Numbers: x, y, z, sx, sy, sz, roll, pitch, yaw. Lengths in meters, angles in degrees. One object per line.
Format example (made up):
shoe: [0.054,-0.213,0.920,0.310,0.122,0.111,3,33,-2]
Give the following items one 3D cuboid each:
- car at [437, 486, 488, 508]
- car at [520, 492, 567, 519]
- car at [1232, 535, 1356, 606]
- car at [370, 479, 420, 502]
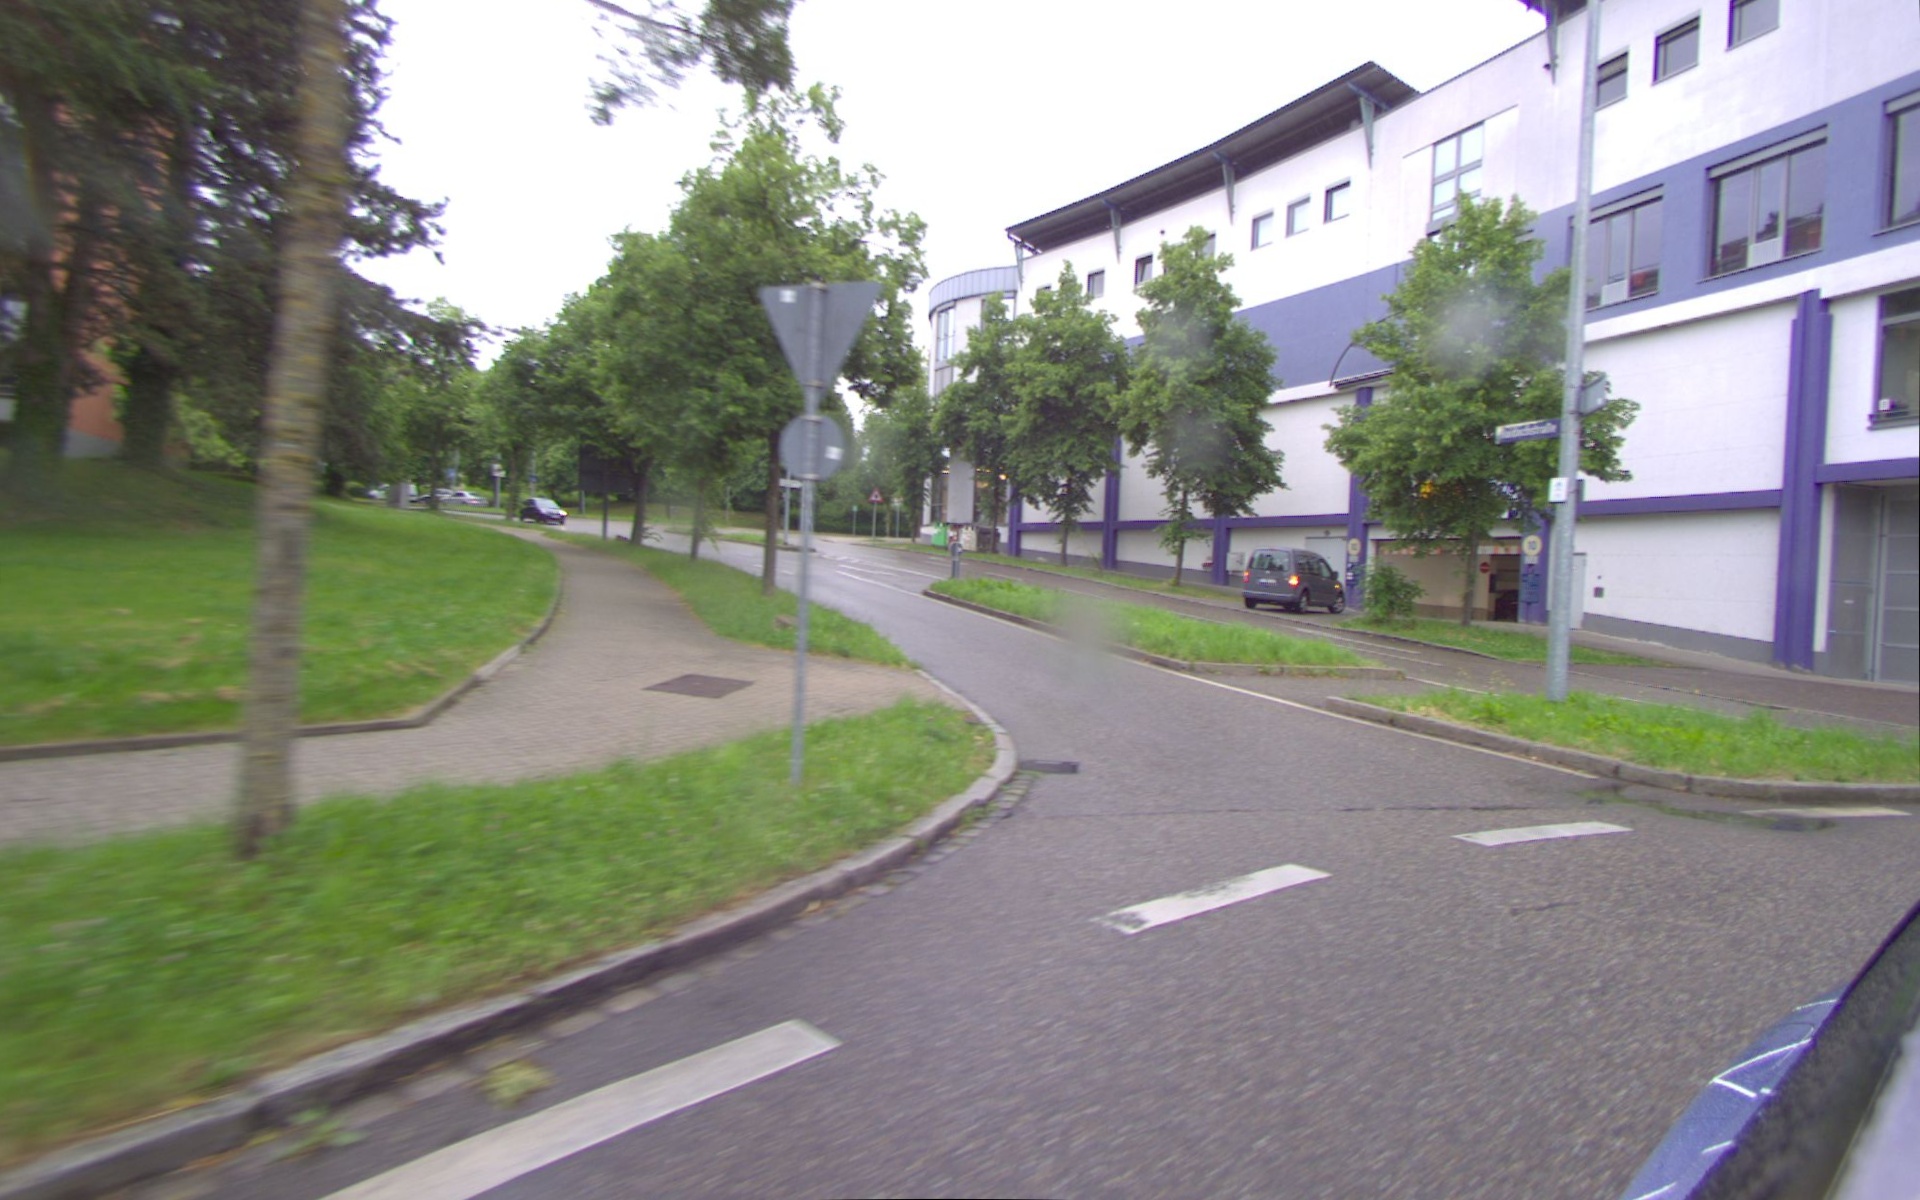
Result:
car: [-39.660,-8.217,80.629,3.970,1.584,1.865,4,3,32]
car: [-24.949,-5.630,60.569,1.600,1.458,3.595,0,3,-40]
car: [9.829,-0.844,29.641,1.920,1.822,3.730,8,5,43]
car: [-49.021,-9.504,87.868,3.965,1.896,1.981,4,3,28]
